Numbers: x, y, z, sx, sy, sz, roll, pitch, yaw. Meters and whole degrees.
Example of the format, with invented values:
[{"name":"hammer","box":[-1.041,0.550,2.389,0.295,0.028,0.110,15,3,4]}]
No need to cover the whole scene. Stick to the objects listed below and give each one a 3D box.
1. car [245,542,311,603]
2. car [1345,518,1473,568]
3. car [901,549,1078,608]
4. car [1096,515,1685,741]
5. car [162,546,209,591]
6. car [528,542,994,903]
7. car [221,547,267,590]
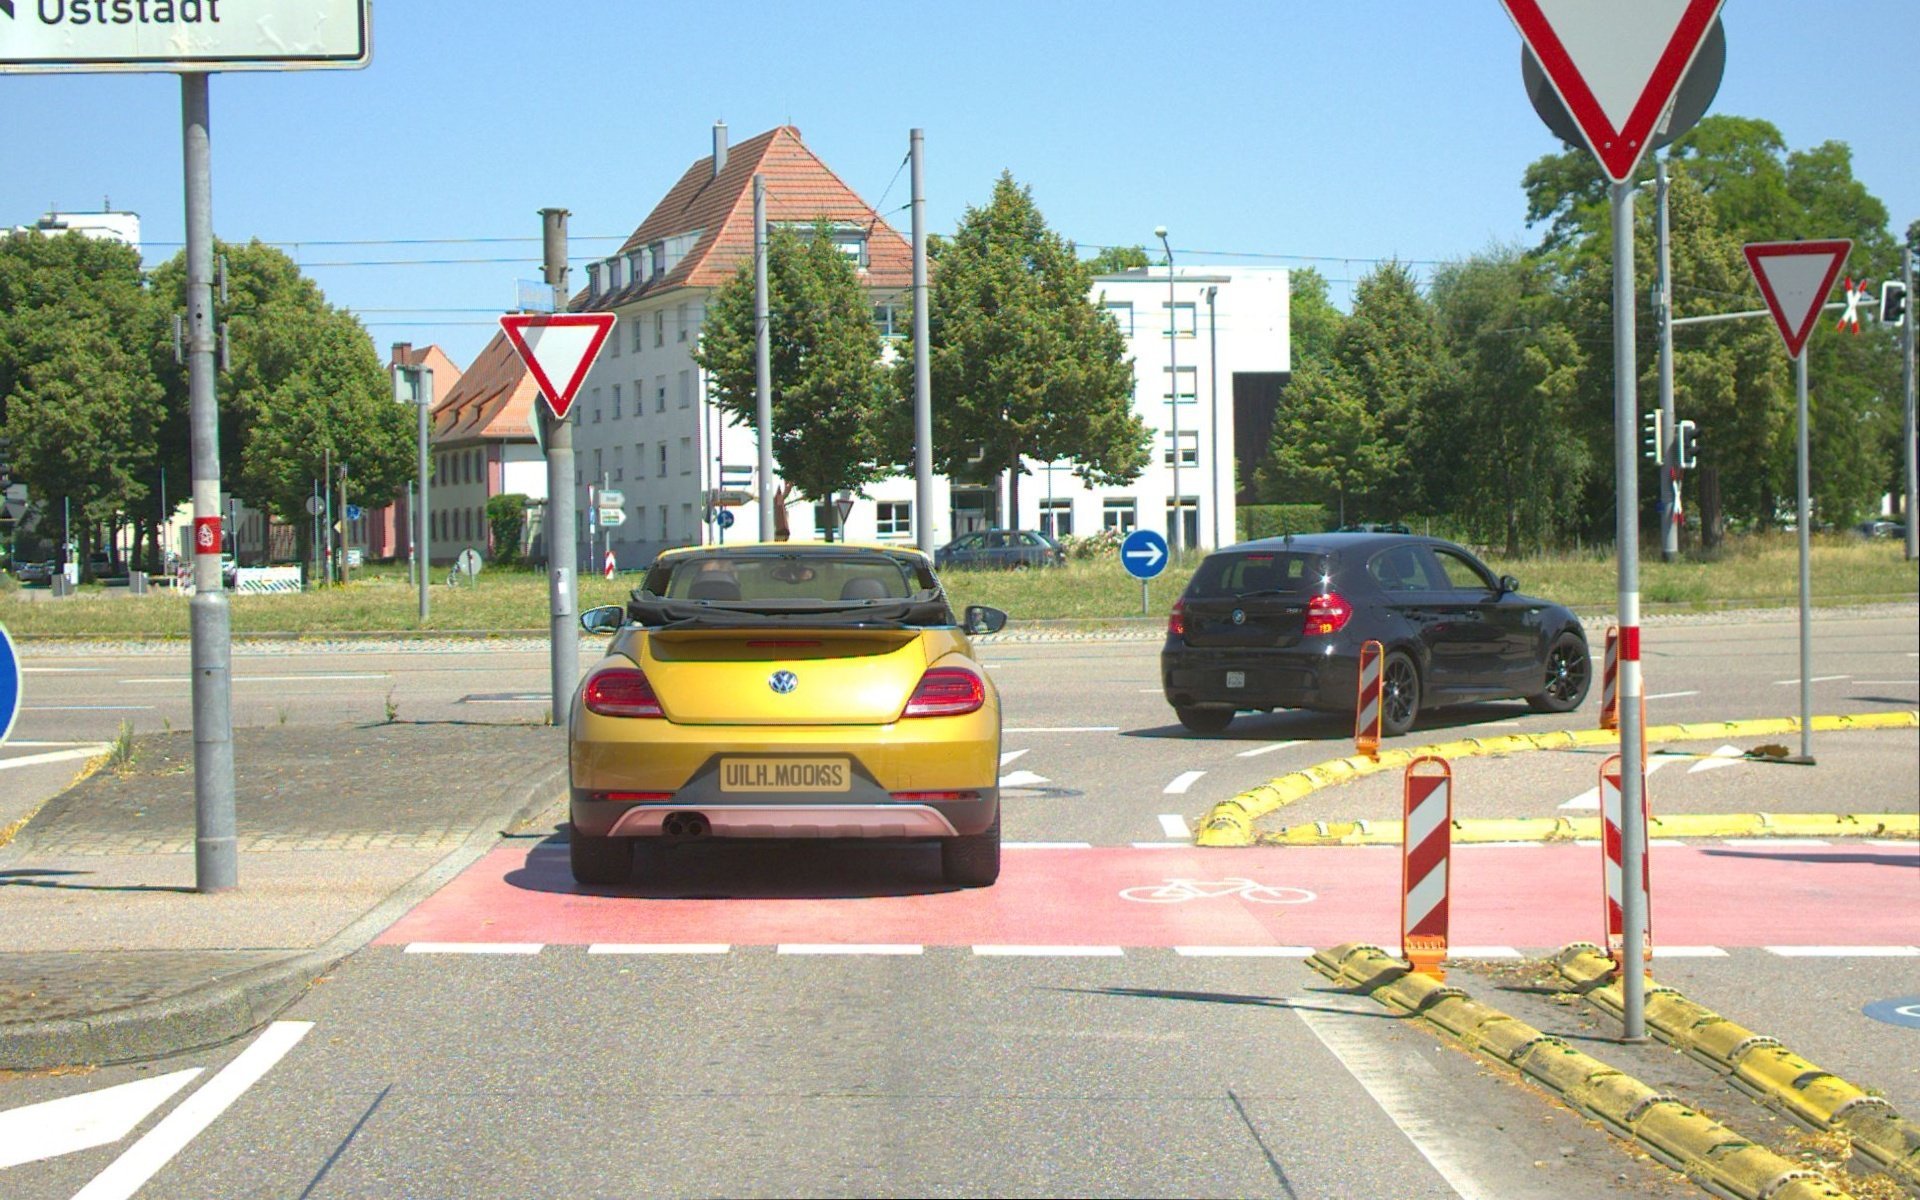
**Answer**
[{"name":"car","box":[-22.753,-0.921,114.568,1.993,2.007,4.001,0,1,-13]},{"name":"car","box":[15.708,-1.983,120.321,3.986,1.678,2.001,0,1,-13]},{"name":"car","box":[0.744,-0.554,86.877,3.992,1.459,1.997,1,1,26]},{"name":"car","box":[3.133,0.142,24.769,3.987,1.435,1.803,-2,2,-34]},{"name":"car","box":[-34.891,-1.413,154.761,1.993,2.007,4.001,0,1,-13]},{"name":"car","box":[-0.805,0.449,15.315,1.825,1.398,3.662,0,1,-1]},{"name":"car","box":[-33.716,-1.478,161.913,1.993,2.007,4.001,0,1,-13]}]
